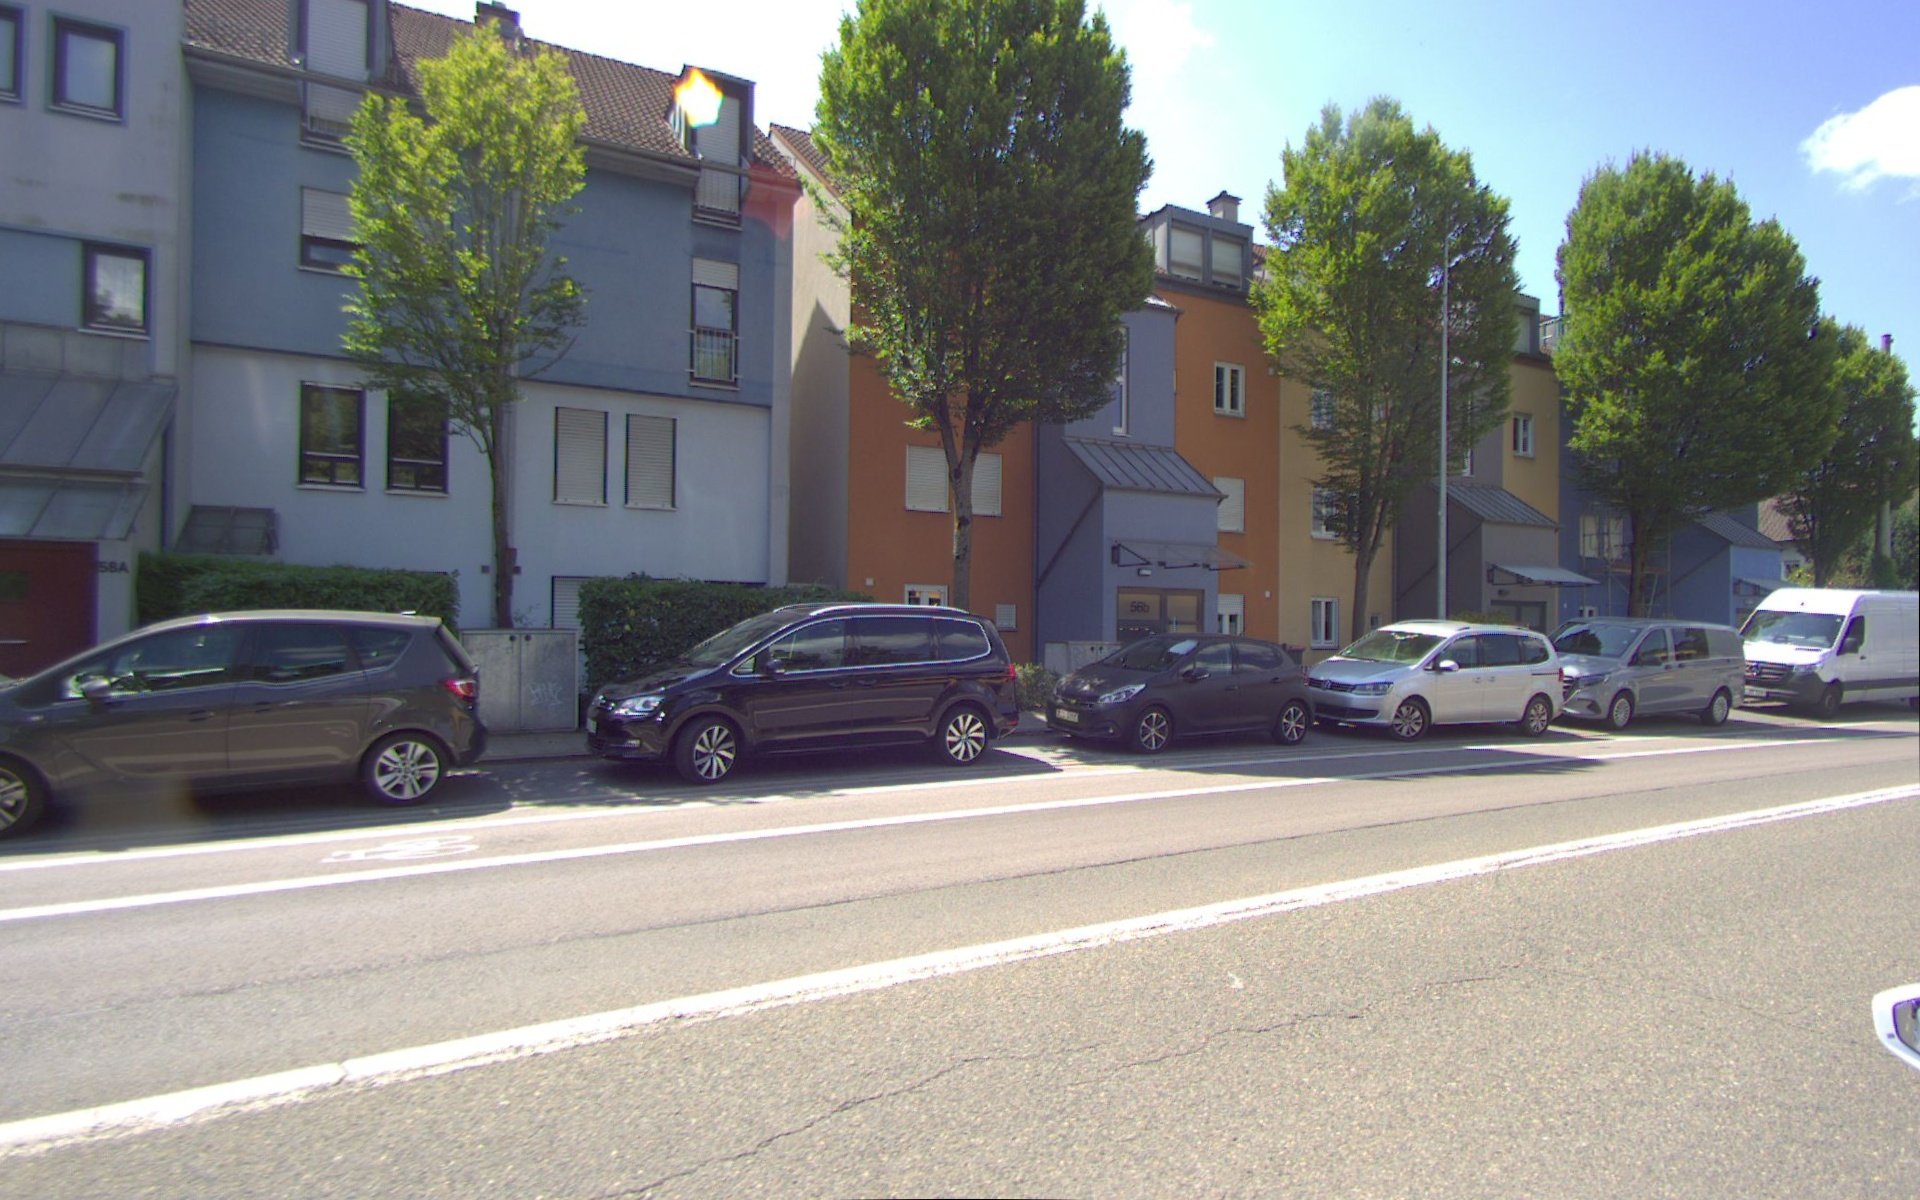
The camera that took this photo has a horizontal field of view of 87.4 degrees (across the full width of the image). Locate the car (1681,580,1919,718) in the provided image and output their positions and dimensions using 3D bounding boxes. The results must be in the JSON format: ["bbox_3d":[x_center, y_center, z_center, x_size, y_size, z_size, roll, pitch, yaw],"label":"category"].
[{"bbox_3d":[19.614,1.037,22.687,6.943,2.687,2.315,1,3,-27],"label":"car"}]

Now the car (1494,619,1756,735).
[{"bbox_3d":[12.437,1.334,18.695,5.295,1.920,1.799,1,-1,-28],"label":"car"}]

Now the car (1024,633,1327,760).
[{"bbox_3d":[2.990,1.211,13.680,4.040,1.490,1.591,1,-1,-30],"label":"car"}]

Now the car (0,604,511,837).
[{"bbox_3d":[-6.157,0.898,8.391,4.235,1.638,1.648,2,-2,-31],"label":"car"}]

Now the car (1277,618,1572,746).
[{"bbox_3d":[7.432,1.209,15.923,4.843,1.775,1.710,1,-1,-28],"label":"car"}]

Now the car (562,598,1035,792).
[{"bbox_3d":[-1.652,0.908,10.993,4.830,1.739,1.743,1,-1,-30],"label":"car"}]
